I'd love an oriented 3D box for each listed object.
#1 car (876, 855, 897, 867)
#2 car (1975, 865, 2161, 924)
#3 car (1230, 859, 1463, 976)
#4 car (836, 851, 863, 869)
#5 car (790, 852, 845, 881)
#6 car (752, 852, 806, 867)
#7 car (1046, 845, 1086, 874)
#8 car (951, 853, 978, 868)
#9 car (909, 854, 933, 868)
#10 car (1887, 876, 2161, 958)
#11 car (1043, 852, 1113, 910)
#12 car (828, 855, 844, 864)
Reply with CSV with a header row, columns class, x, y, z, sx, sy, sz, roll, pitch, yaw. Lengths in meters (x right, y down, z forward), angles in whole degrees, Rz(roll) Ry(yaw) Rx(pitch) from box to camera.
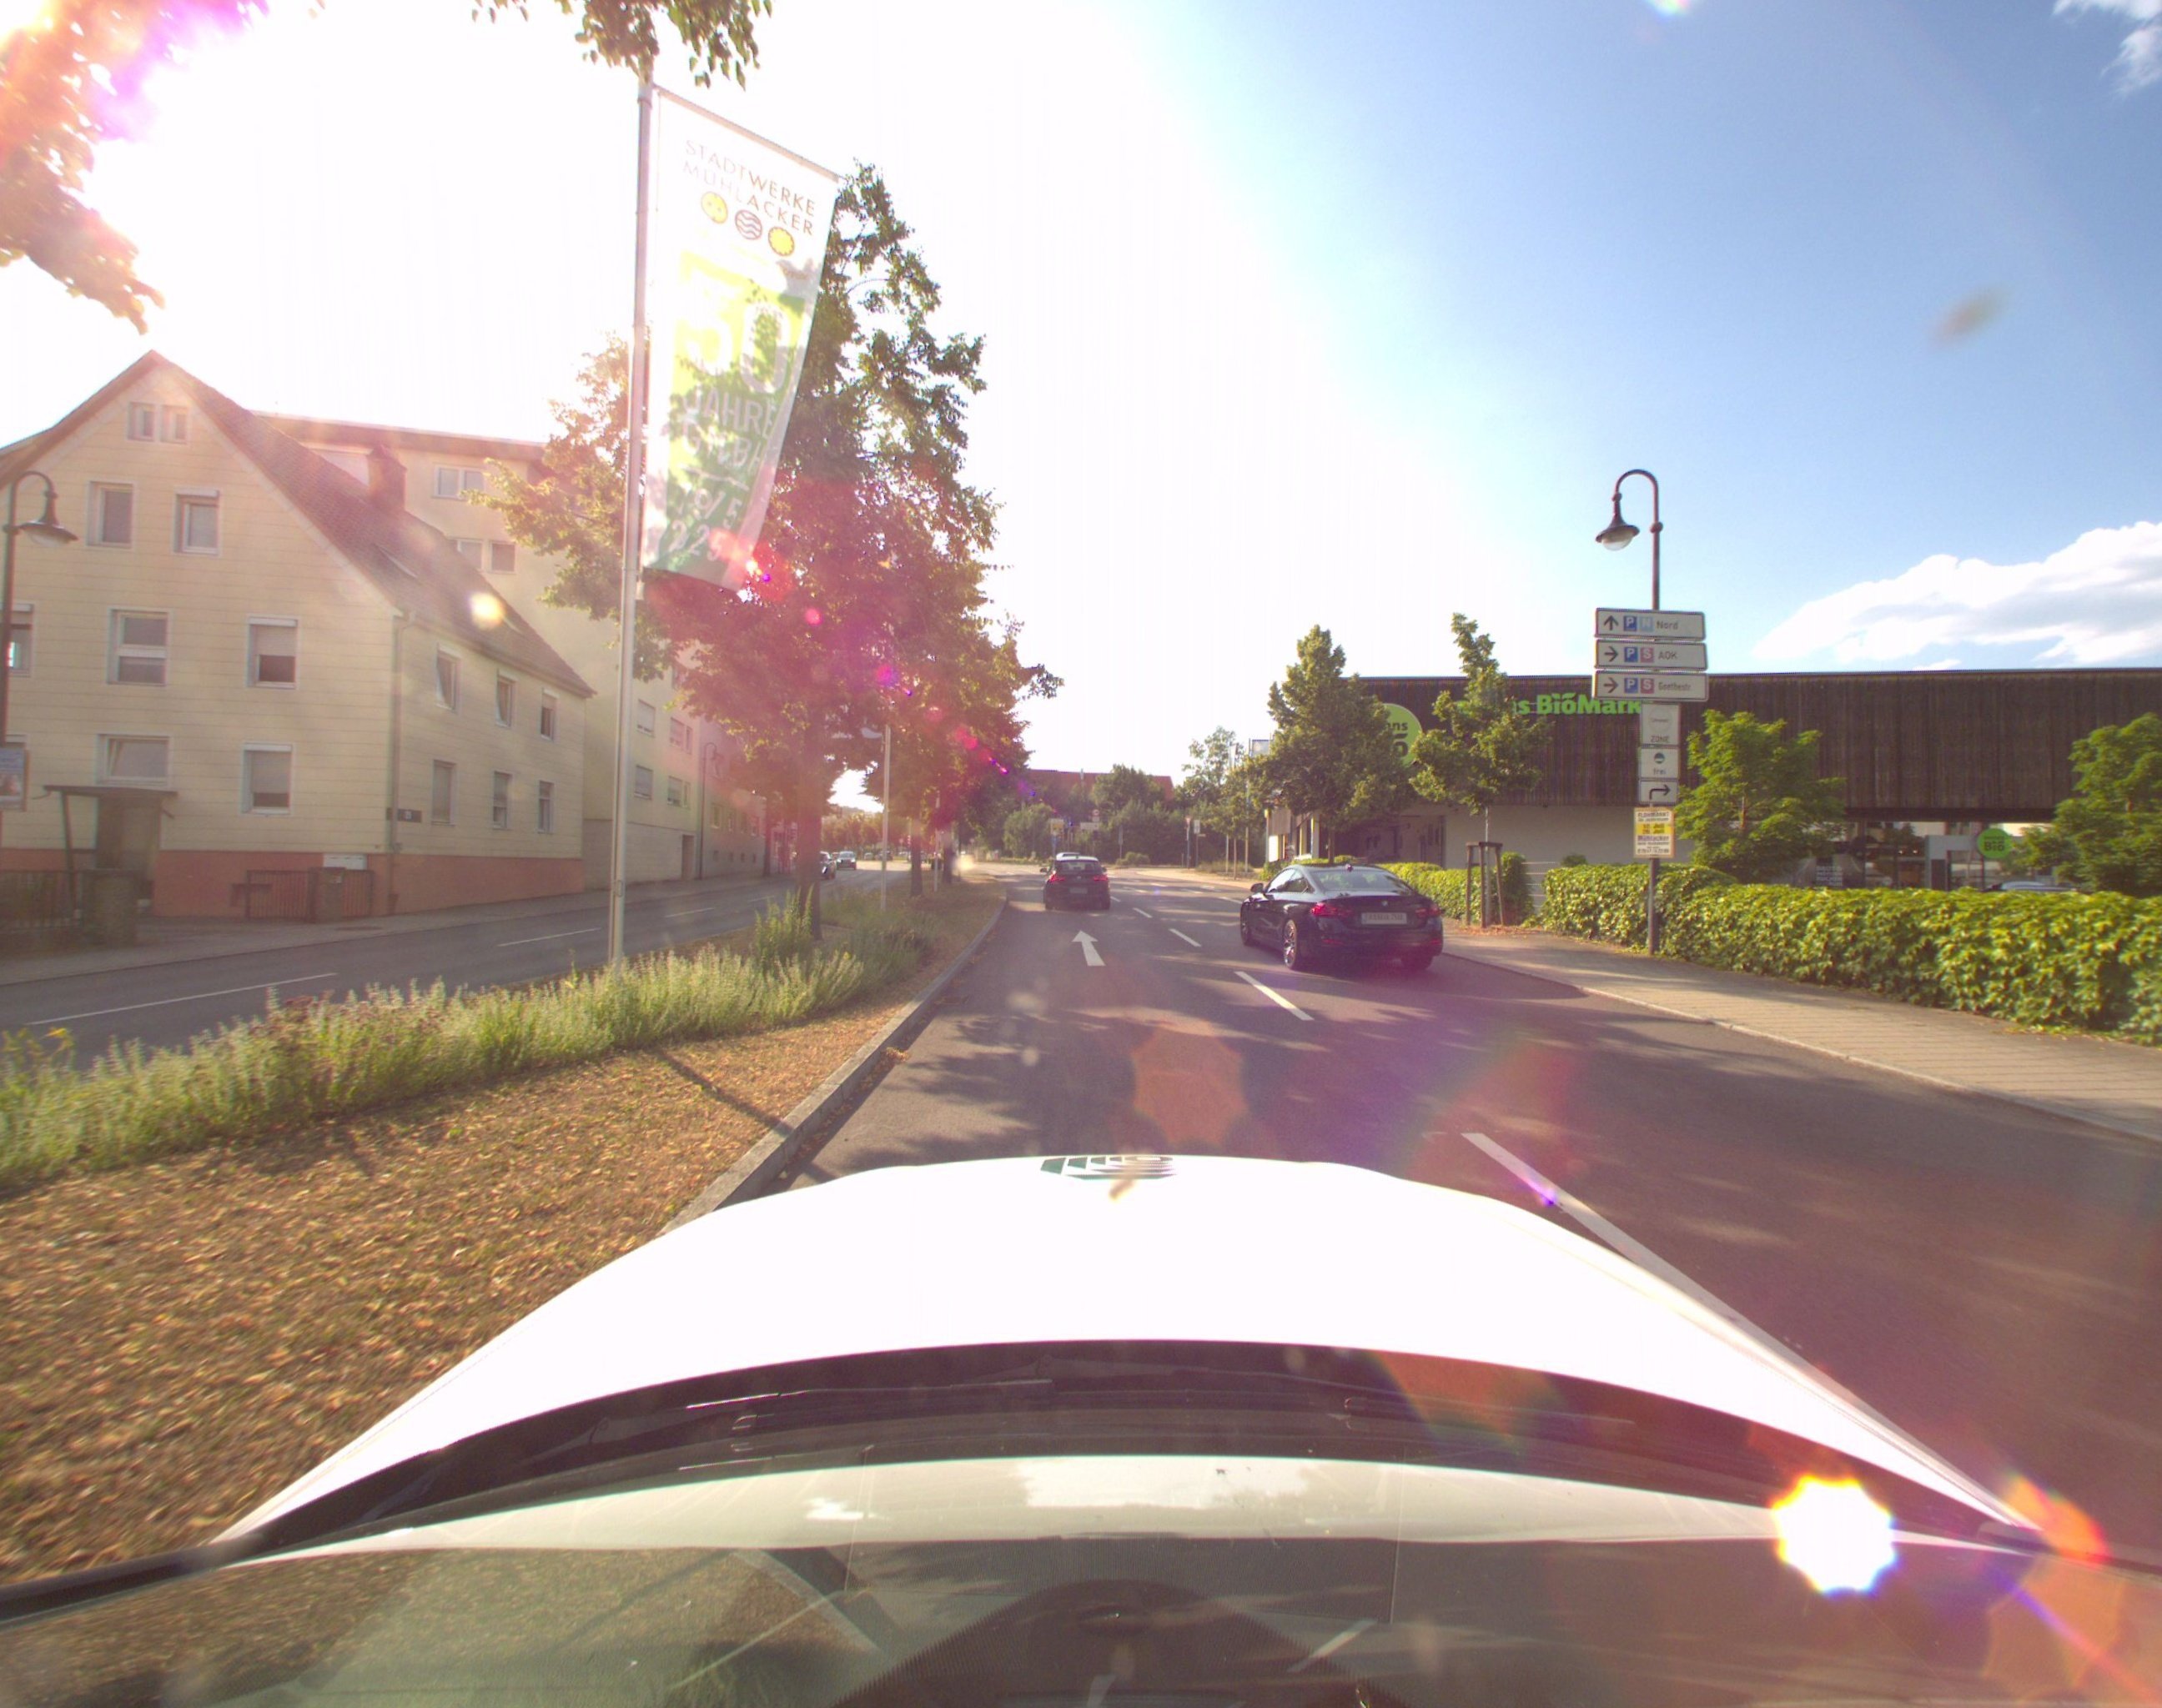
class,x,y,z,sx,sy,sz,roll,pitch,yaw
car,-30.093,1.117,125.866,2.229,1.769,4.414,0,0,-28
car,30.784,1.196,25.289,1.983,1.628,4.008,1,0,7
car,3.551,0.770,11.834,1.915,1.364,4.350,0,0,-1
car,-19.255,0.493,67.780,1.604,1.486,3.774,0,0,-7
car,-14.818,0.666,46.067,1.936,1.486,4.317,2,0,-5
car,-30.117,0.571,81.397,4.867,1.436,1.907,0,0,-16
car,-0.982,0.319,51.132,1.924,1.769,4.441,0,0,-9
car,-14.285,0.807,99.624,2.267,1.674,4.554,3,0,-22
car,-21.444,0.923,109.200,2.267,1.674,4.554,3,0,-22
car,21.774,1.352,18.825,1.985,1.539,4.553,1,0,4
car,-0.184,0.712,23.432,1.718,1.490,4.346,0,0,-4
car,-48.362,1.123,160.514,2.229,1.769,4.414,0,0,-28
